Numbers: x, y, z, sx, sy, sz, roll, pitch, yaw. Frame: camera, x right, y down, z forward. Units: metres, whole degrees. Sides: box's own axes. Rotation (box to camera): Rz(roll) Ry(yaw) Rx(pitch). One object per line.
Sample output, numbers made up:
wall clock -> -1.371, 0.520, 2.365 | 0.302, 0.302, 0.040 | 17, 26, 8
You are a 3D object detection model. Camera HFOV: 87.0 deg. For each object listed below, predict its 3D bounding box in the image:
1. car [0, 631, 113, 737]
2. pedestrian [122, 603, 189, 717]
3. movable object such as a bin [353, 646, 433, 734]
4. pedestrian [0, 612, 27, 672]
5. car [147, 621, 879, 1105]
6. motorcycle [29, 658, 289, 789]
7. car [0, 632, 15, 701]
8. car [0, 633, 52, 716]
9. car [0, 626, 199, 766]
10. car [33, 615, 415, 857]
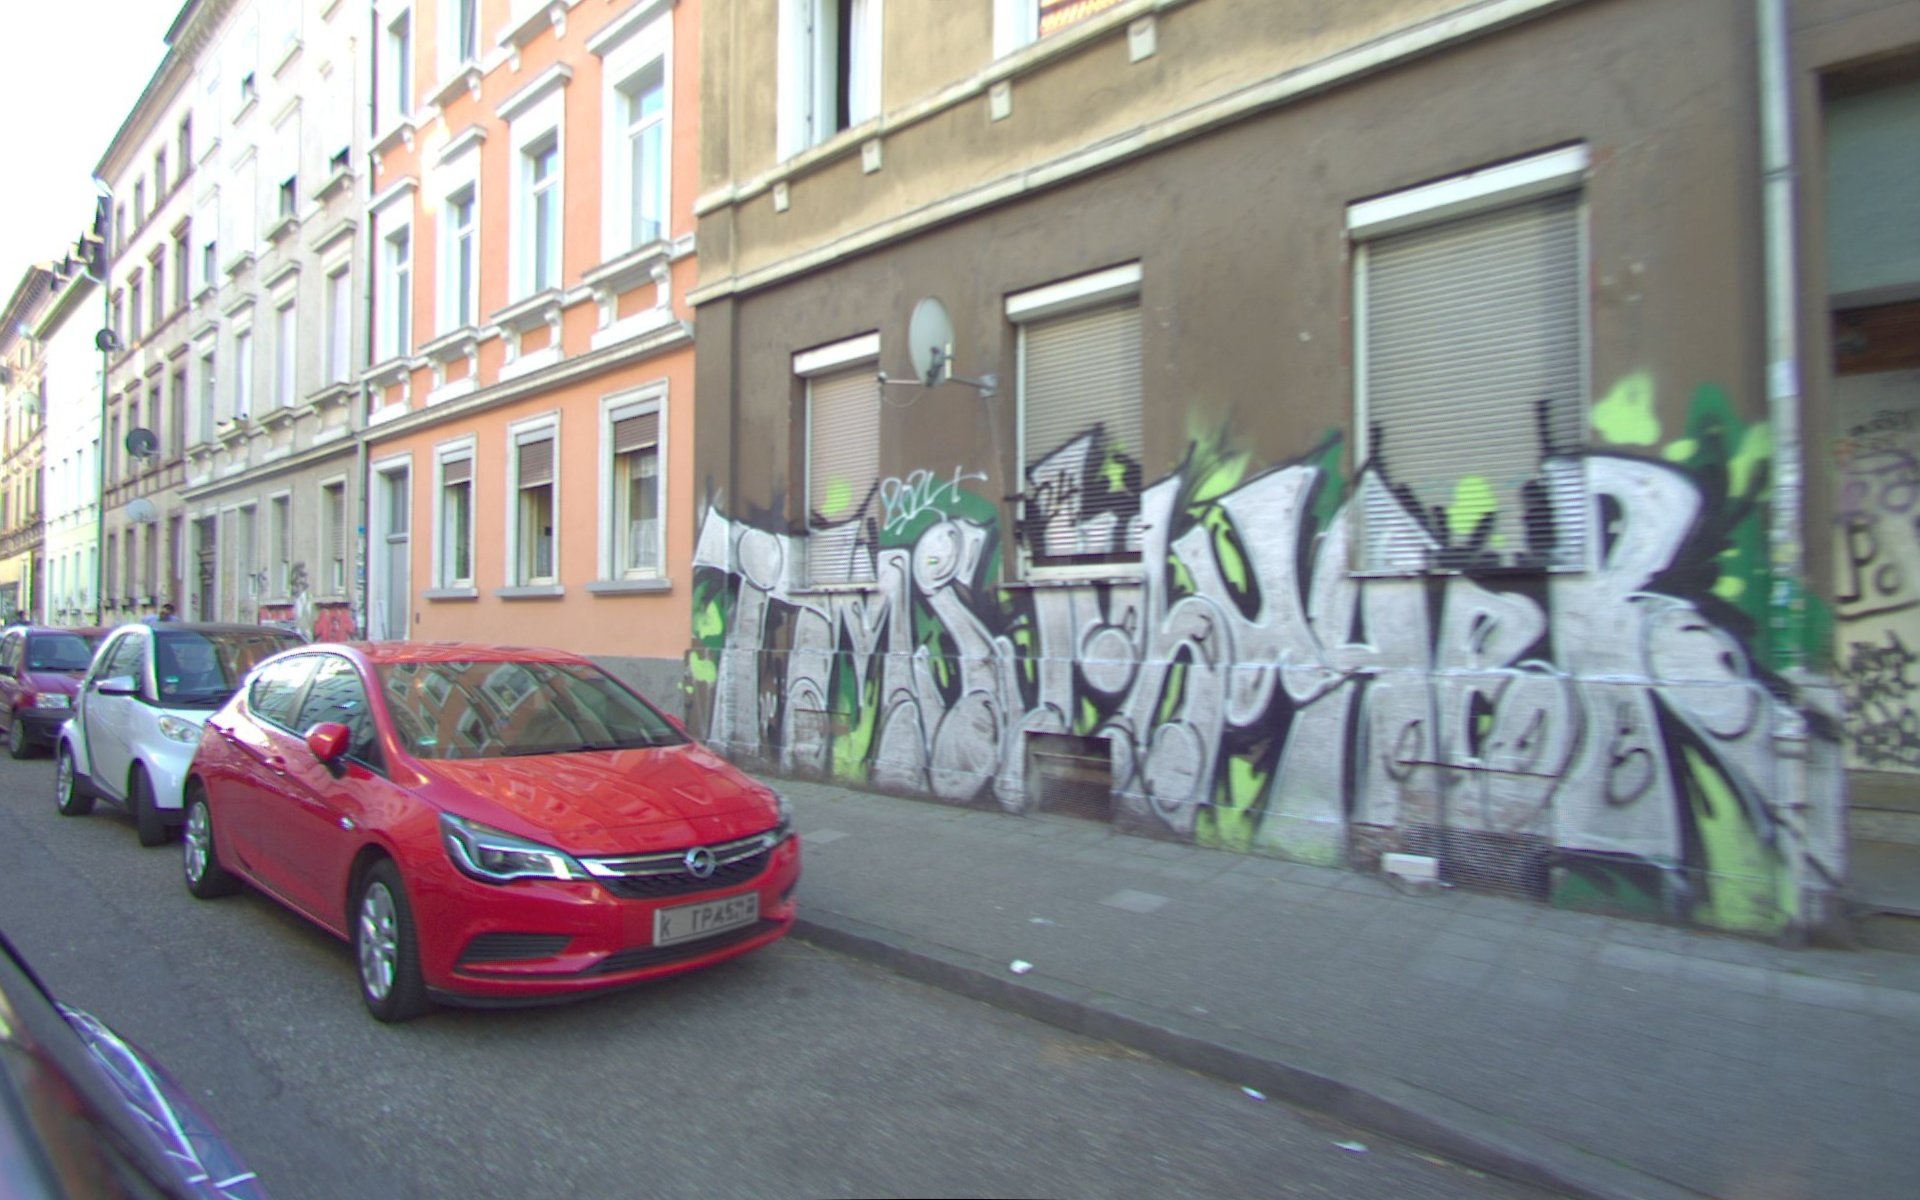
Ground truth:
car -> -14.793, 1.230, 15.863 | 4.311, 1.474, 1.661 | -1, -2, 41
pedestrian -> -13.441, 0.983, 16.911 | 0.594, 1.845, 0.780 | -2, -1, 41
movable object such as a bin -> -7.377, 1.146, 13.172 | 0.768, 1.057, 0.663 | -2, 0, -41
pedestrian -> -29.786, 1.302, 31.805 | 0.594, 1.845, 0.618 | -2, -1, 42
car -> -2.506, 0.894, 5.137 | 4.199, 1.485, 1.662 | -1, -4, 40
motorcycle -> -8.376, 1.235, 10.717 | 0.784, 1.137, 2.068 | -1, -1, 19
car -> -22.470, 1.451, 22.562 | 3.858, 1.474, 1.661 | -1, -2, 41
car -> -18.487, 1.362, 19.211 | 1.660, 1.474, 3.862 | 2, -2, -45
car -> -11.079, 1.089, 12.654 | 3.607, 1.504, 1.663 | -2, -2, 39
car -> -5.949, 0.940, 8.133 | 2.955, 1.561, 1.663 | -1, -3, 37
